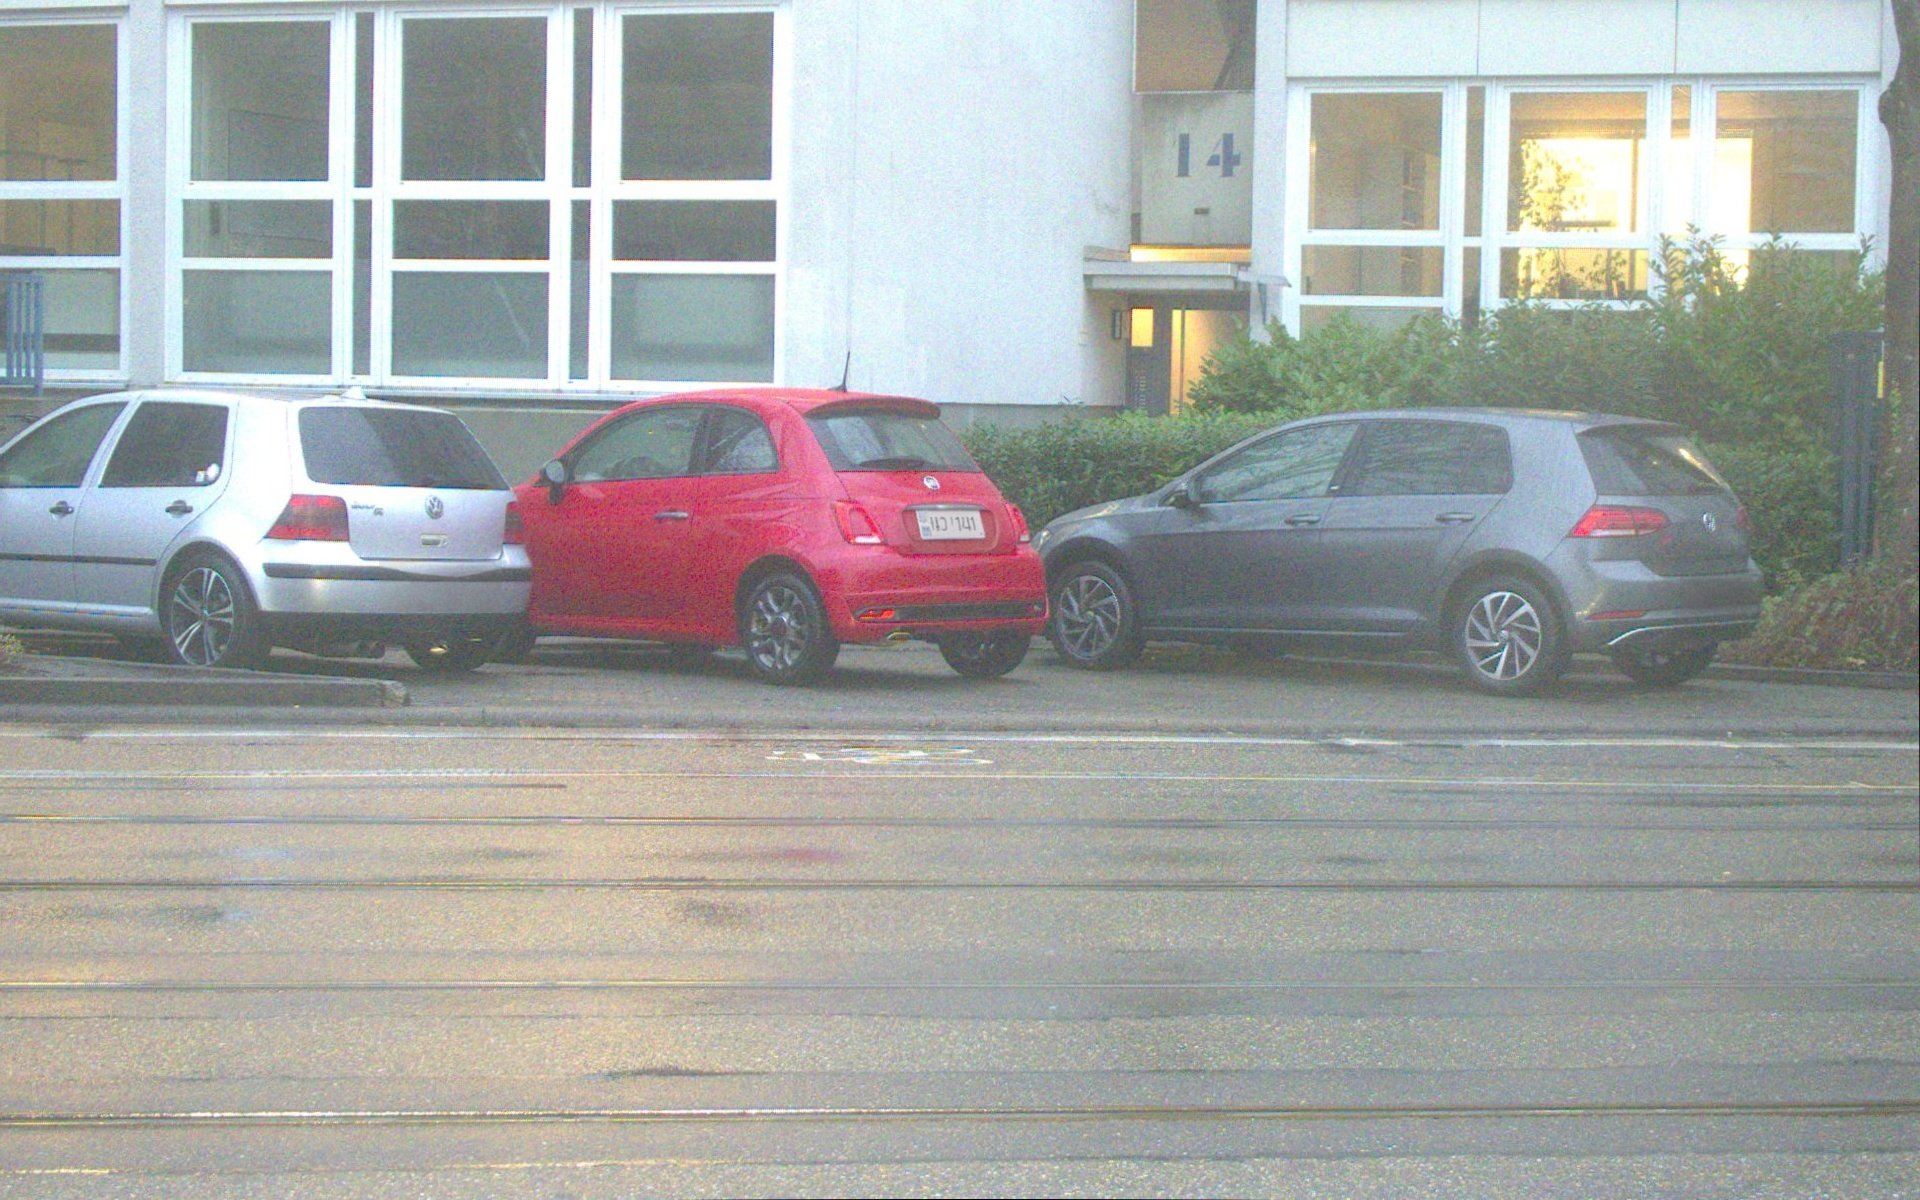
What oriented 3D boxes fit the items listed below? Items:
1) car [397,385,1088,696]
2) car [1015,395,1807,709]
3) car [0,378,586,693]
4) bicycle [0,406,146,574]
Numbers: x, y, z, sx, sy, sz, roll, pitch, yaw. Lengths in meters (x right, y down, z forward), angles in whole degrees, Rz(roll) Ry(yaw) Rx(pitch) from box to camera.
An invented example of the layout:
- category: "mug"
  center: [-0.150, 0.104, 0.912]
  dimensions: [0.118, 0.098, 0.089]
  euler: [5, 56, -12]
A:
- category: "car"
  center: [-1.208, -0.385, 18.270]
  dimensions: [3.448, 1.487, 1.725]
  euler: [3, 4, 41]
- category: "car"
  center: [2.331, -0.332, 18.291]
  dimensions: [3.850, 1.487, 1.692]
  euler: [3, 4, 39]
- category: "car"
  center: [-4.001, -0.408, 17.684]
  dimensions: [3.996, 1.441, 1.789]
  euler: [3, 4, 37]
- category: "bicycle"
  center: [-6.479, -0.786, 23.839]
  dimensions: [0.640, 1.116, 2.204]
  euler: [1, 3, 15]
